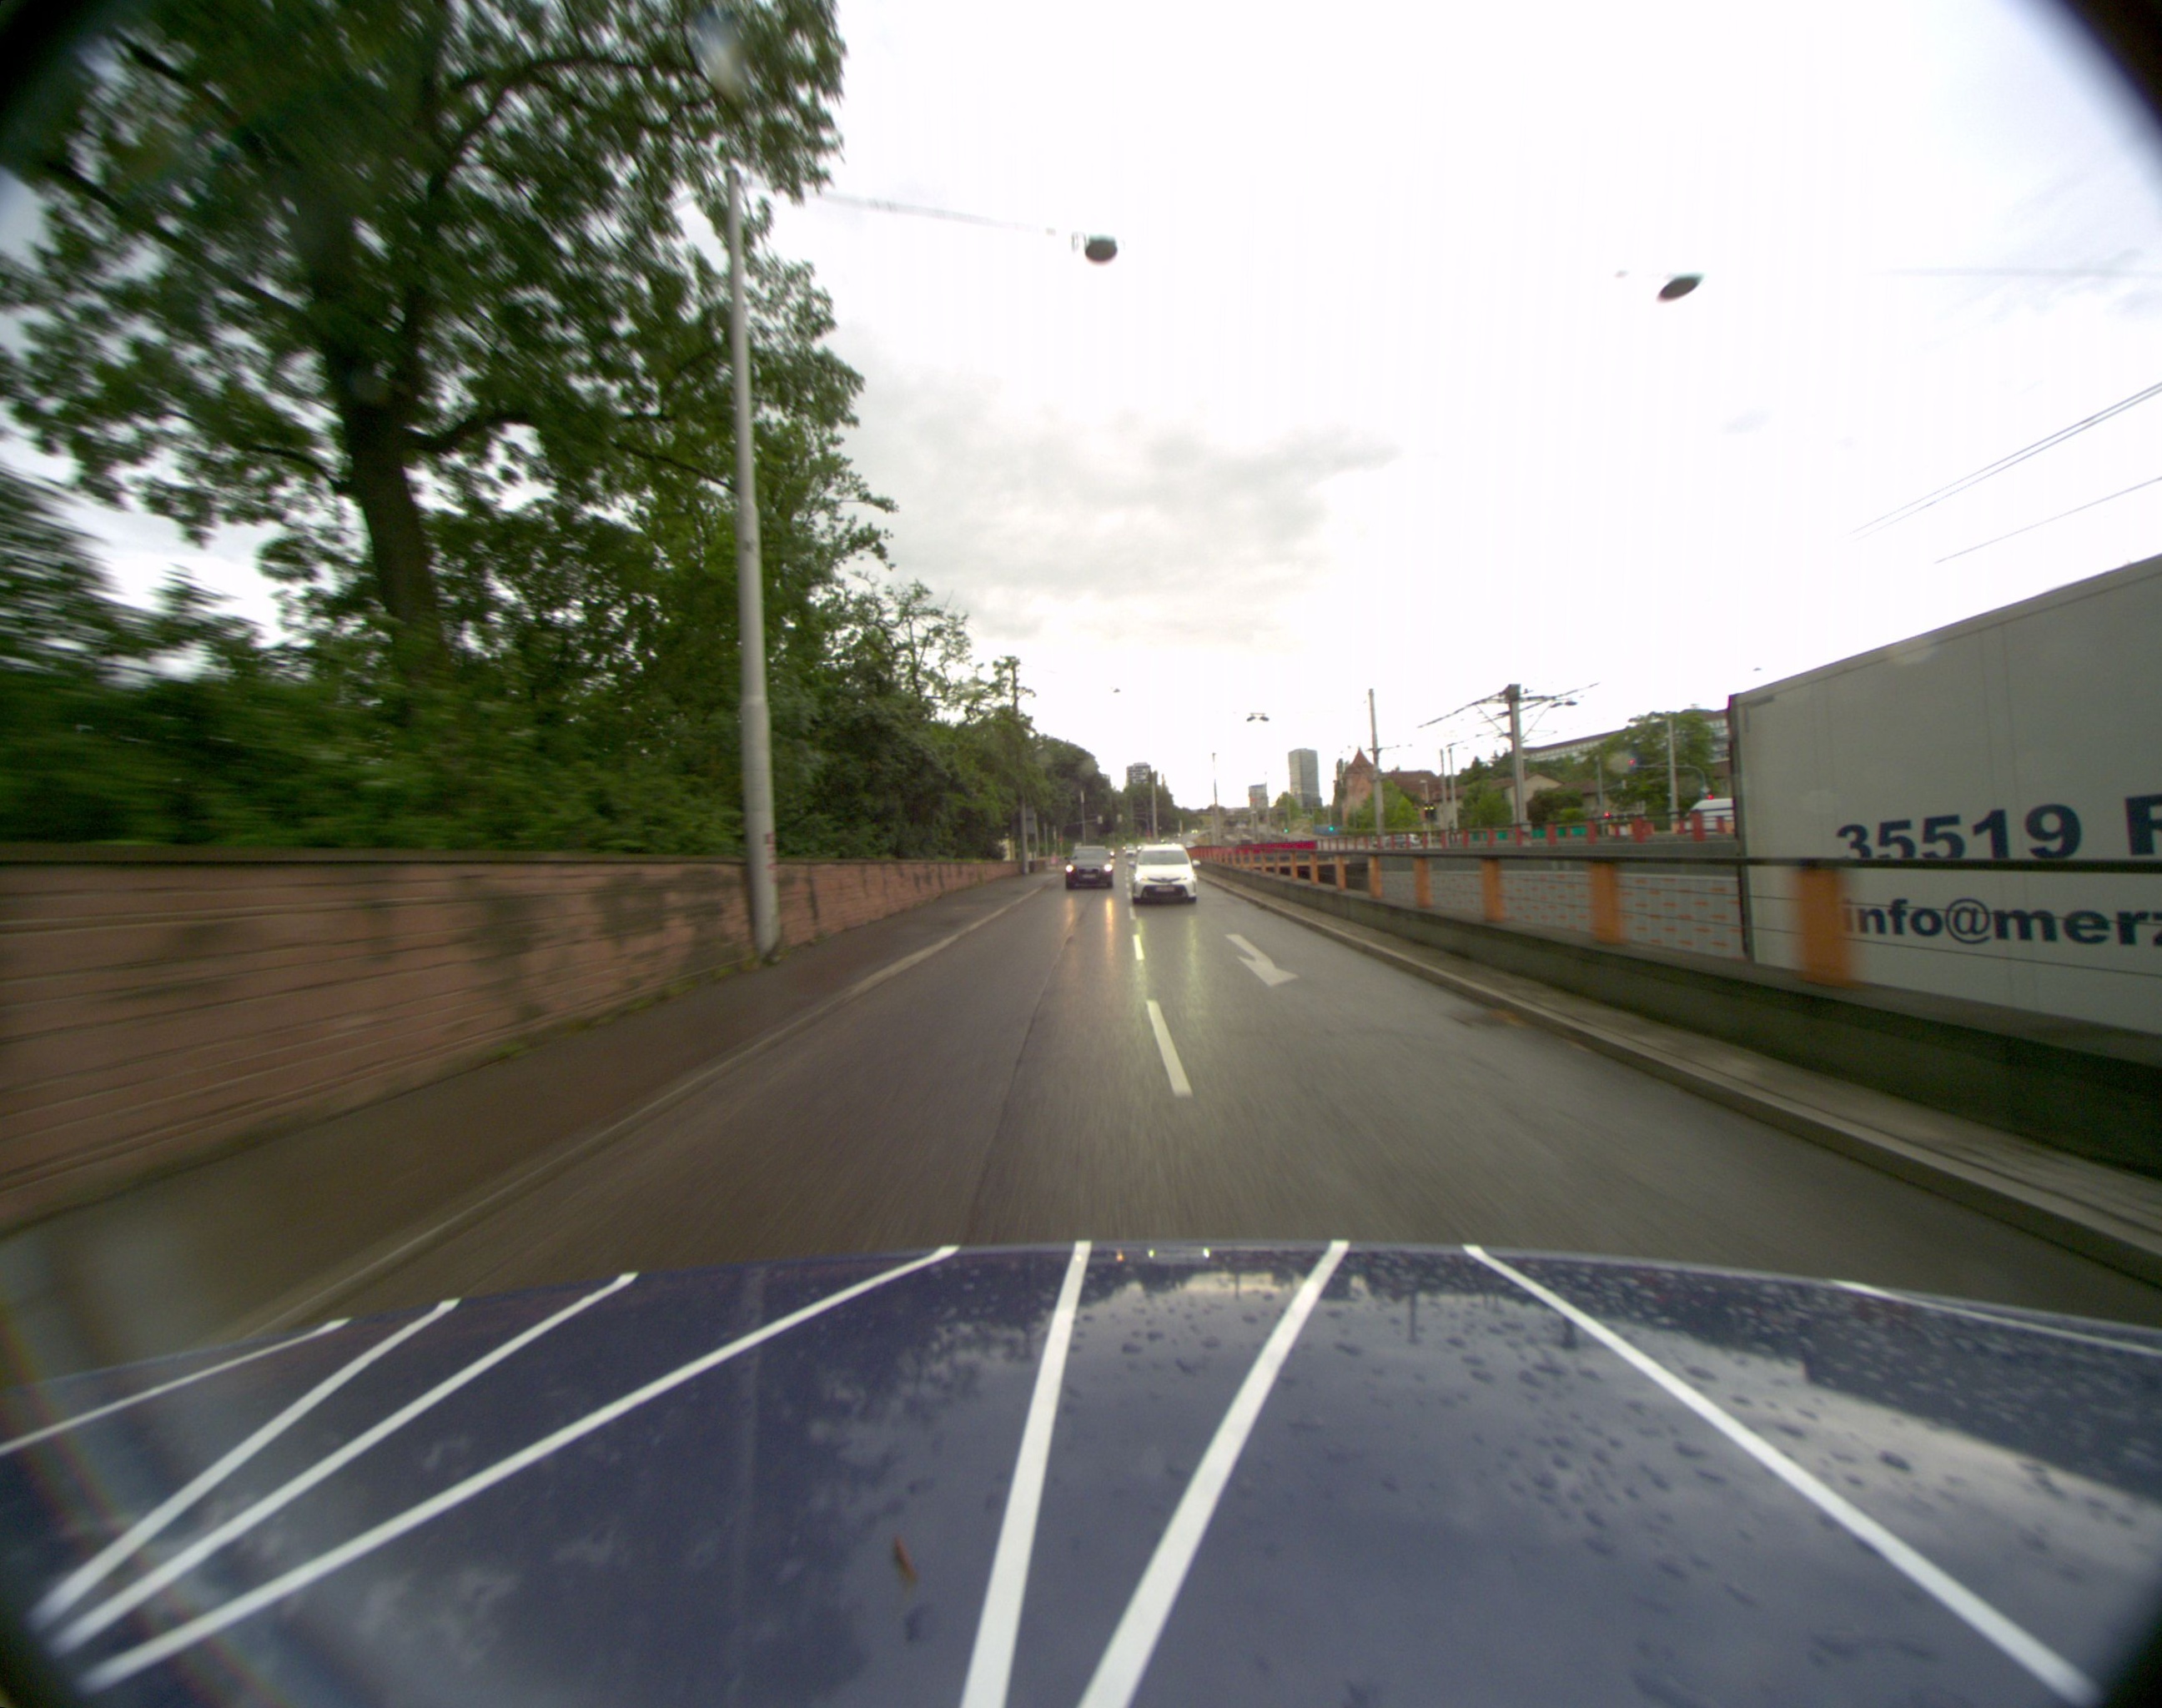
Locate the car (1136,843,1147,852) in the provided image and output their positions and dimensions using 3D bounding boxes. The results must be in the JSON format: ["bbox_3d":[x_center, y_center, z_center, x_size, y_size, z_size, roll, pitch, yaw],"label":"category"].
[{"bbox_3d":[11.330,-1.176,142.258,1.801,1.502,4.002,-3,-1,4],"label":"car"}]

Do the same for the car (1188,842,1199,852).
[{"bbox_3d":[20.146,-1.251,135.935,1.737,1.579,4.002,-3,2,13],"label":"car"}]

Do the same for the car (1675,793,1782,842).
[{"bbox_3d":[40.077,-2.179,47.249,1.998,2.815,5.718,-2,1,3],"label":"car"}]

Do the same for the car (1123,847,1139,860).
[{"bbox_3d":[7.589,-0.082,114.852,1.737,1.579,4.002,-3,2,13],"label":"car"}]

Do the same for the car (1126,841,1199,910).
[{"bbox_3d":[2.294,0.545,21.966,1.855,1.741,4.000,-1,1,4],"label":"car"}]

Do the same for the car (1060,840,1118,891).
[{"bbox_3d":[0.382,0.376,28.834,1.855,1.579,3.999,-3,2,5],"label":"car"}]

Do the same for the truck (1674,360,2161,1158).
[{"bbox_3d":[6.890,-0.543,0.802,2.768,4.172,13.034,-2,0,3],"label":"truck"}]

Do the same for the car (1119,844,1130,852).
[{"bbox_3d":[8.203,-1.128,143.075,1.888,1.462,4.011,-4,-1,6],"label":"car"}]

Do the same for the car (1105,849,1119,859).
[{"bbox_3d":[4.701,0.000,115.714,1.888,1.462,4.011,-4,-1,6],"label":"car"}]

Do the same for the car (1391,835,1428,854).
[{"bbox_3d":[40.961,-1.155,94.798,3.992,2.003,2.001,-3,4,17],"label":"car"}]

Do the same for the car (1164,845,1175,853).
[{"bbox_3d":[17.588,-0.993,151.174,1.801,1.463,4.000,-3,2,5],"label":"car"}]
